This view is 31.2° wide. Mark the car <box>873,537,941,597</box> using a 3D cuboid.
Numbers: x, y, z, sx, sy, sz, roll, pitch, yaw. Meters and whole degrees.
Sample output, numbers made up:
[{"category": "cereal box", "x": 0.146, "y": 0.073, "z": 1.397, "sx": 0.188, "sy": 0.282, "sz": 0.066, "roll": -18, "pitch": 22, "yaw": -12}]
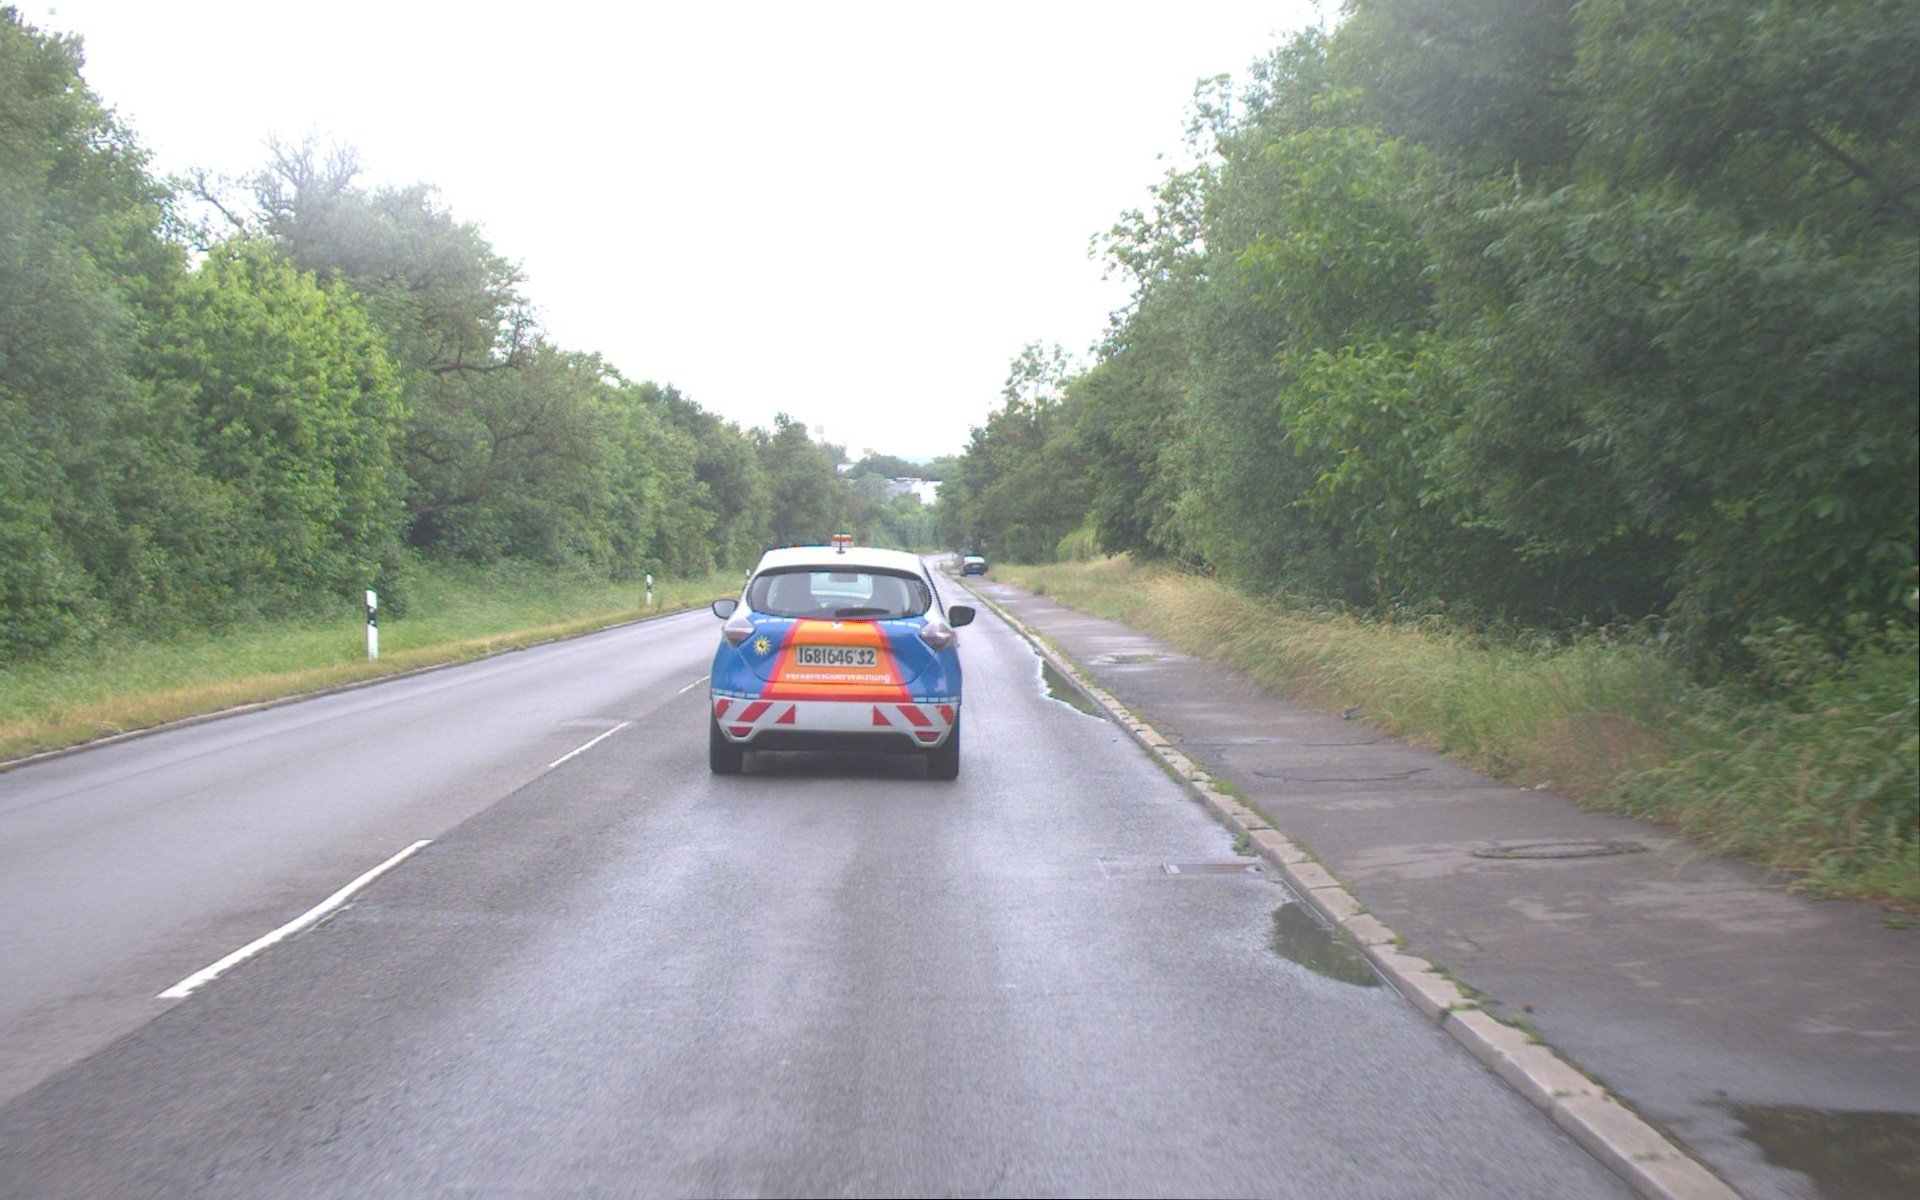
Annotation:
[{"category": "car", "x": -1.579, "y": -1.005, "z": 103.852, "sx": 1.941, "sy": 1.717, "sz": 4.063, "roll": -1, "pitch": 1, "yaw": 0}]

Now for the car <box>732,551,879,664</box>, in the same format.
[{"category": "car", "x": -1.842, "y": 0.065, "z": 41.855, "sx": 1.598, "sy": 1.282, "sz": 3.476, "roll": -1, "pitch": 1, "yaw": 0}]

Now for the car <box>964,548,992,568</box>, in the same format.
[{"category": "car", "x": 1.282, "y": -3.028, "z": 247.983, "sx": 1.993, "sy": 1.371, "sz": 4.000, "roll": -1, "pitch": 1, "yaw": 0}]

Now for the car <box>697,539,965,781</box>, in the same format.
[{"category": "car", "x": -0.875, "y": 0.362, "z": 24.606, "sx": 1.752, "sy": 1.550, "sz": 3.793, "roll": 1, "pitch": 1, "yaw": -1}]
